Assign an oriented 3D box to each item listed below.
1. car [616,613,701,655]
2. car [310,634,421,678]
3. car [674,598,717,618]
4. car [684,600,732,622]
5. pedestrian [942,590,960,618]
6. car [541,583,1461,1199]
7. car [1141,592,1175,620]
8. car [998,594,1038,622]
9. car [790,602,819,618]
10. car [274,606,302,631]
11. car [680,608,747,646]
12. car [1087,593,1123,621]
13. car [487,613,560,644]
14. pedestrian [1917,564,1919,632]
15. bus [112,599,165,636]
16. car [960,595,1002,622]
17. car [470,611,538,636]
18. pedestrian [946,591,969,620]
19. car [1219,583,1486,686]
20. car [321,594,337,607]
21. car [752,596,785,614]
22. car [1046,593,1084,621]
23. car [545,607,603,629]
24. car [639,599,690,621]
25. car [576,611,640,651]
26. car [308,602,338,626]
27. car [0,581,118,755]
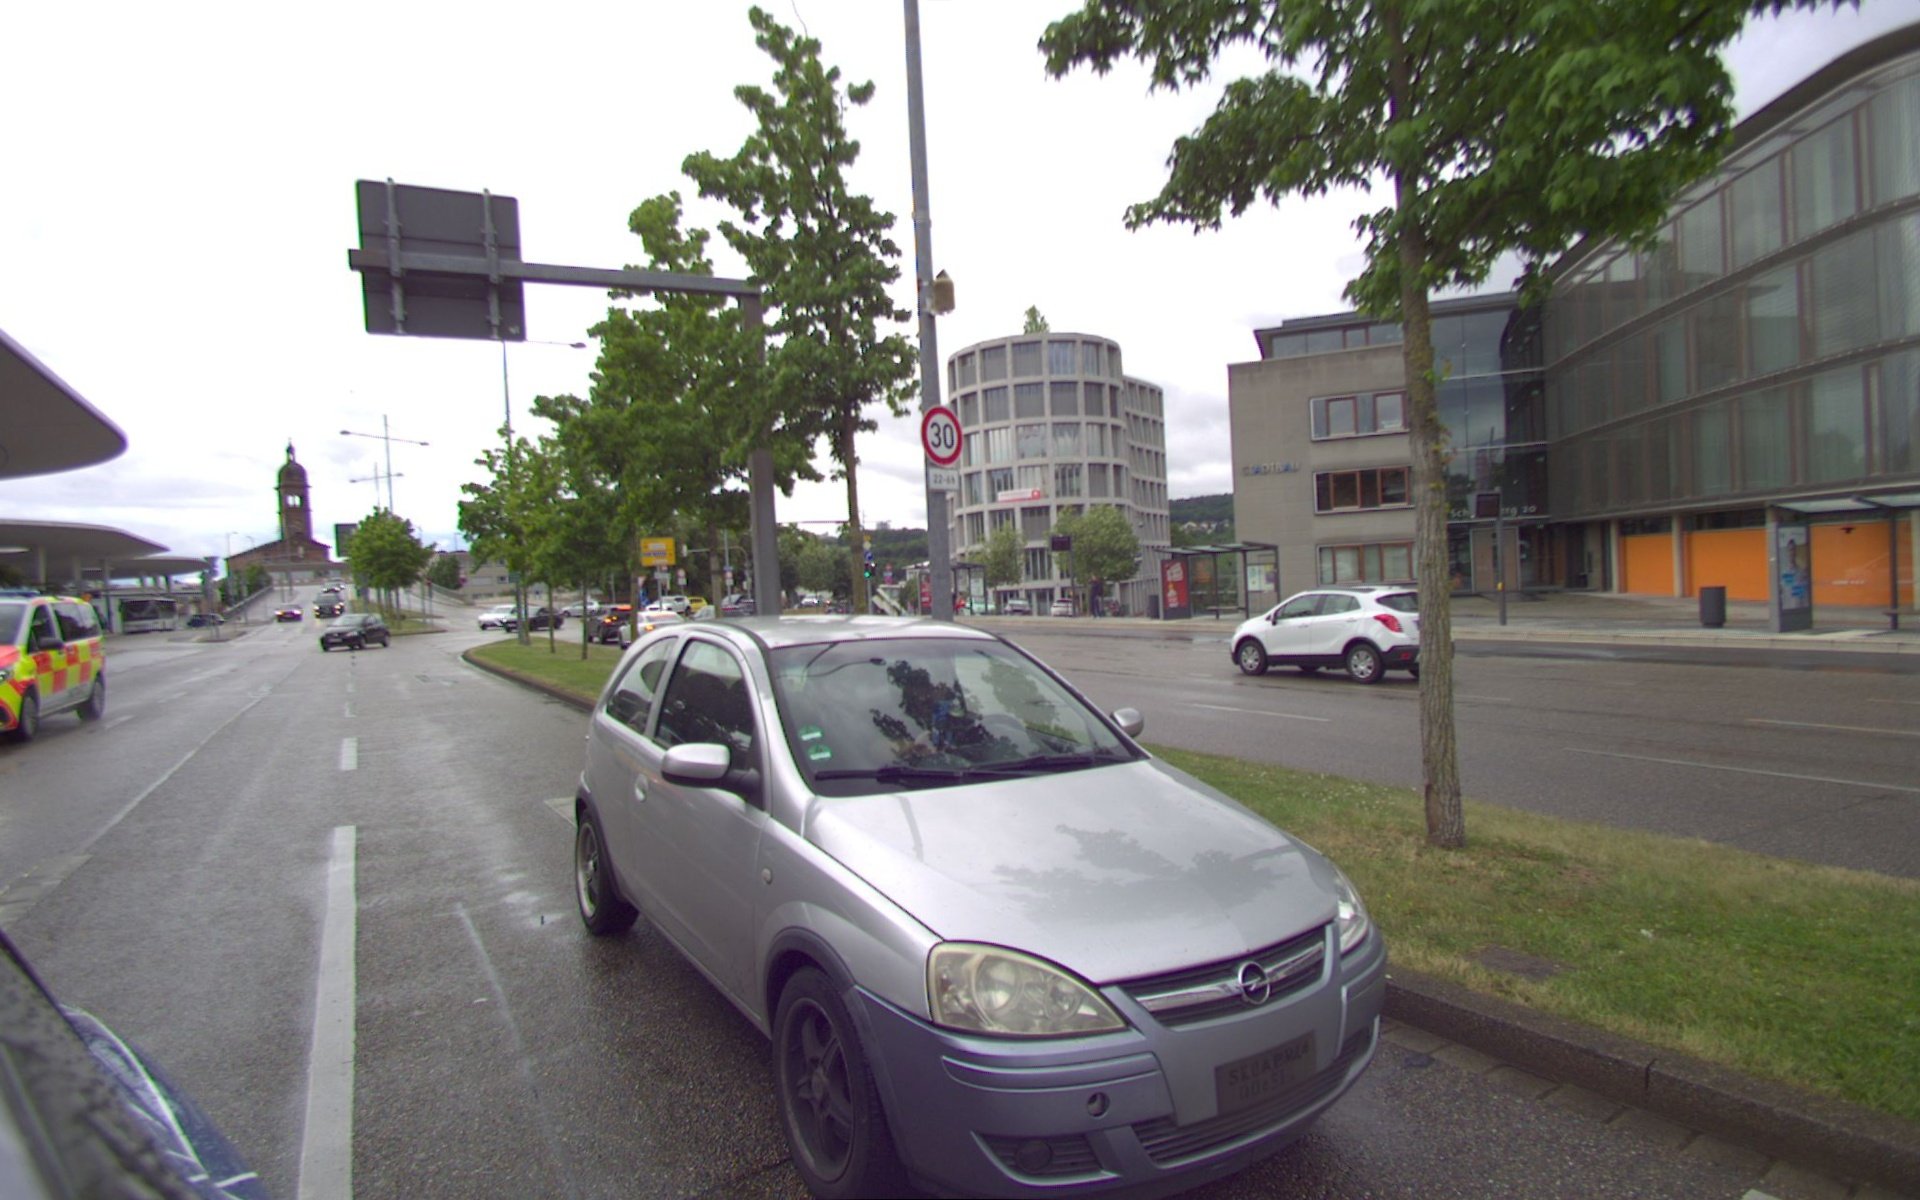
[{"bbox_3d":[-10.957,1.189,36.624,1.977,1.363,4.177,-1,0,-31],"label":"car"},{"bbox_3d":[-25.925,2.402,44.315,1.859,1.715,4.139,-1,0,14],"label":"car"},{"bbox_3d":[-23.037,0.706,88.407,1.859,1.646,4.139,-2,0,14],"label":"car"},{"bbox_3d":[-19.868,0.873,79.890,1.860,1.646,4.137,-1,0,15],"label":"car"},{"bbox_3d":[-0.506,0.219,54.121,0.721,1.501,0.737,-1,0,-23],"label":"pedestrian"},{"bbox_3d":[-0.364,0.721,3.850,1.671,1.477,3.731,-1,0,-32],"label":"car"},{"bbox_3d":[12.409,0.366,63.296,1.859,1.715,4.138,-1,0,14],"label":"car"},{"bbox_3d":[3.808,0.505,65.552,1.859,1.715,4.138,-1,0,14],"label":"car"},{"bbox_3d":[-16.331,1.042,106.715,1.856,1.646,4.146,-2,0,9],"label":"car"},{"bbox_3d":[-57.160,1.524,86.069,1.967,2.029,4.011,-1,0,-34],"label":"car"},{"bbox_3d":[-10.390,1.098,42.484,1.671,1.477,4.466,-1,0,-28],"label":"car"},{"bbox_3d":[9.248,0.417,64.462,1.859,1.715,4.138,-1,0,14],"label":"car"},{"bbox_3d":[-26.196,1.703,60.857,1.860,1.715,4.137,-1,0,15],"label":"car"},{"bbox_3d":[18.893,-0.040,19.314,0.657,1.309,0.722,-1,0,-26],"label":"pedestrian"},{"bbox_3d":[-75.342,1.635,92.835,3.528,3.121,10.773,-2,0,-39],"label":"bus"},{"bbox_3d":[1.422,0.544,66.275,1.859,1.715,4.138,-1,0,14],"label":"car"},{"bbox_3d":[-29.972,1.532,66.631,1.800,1.571,4.020,-1,0,22],"label":"car"},{"bbox_3d":[-0.144,0.295,53.180,0.967,1.501,0.736,-1,0,-21],"label":"pedestrian"},{"bbox_3d":[6.937,0.556,18.351,1.928,1.630,4.221,-1,0,-29],"label":"car"},{"bbox_3d":[-81.208,0.057,130.201,1.525,1.572,3.658,-1,0,-36],"label":"car"},{"bbox_3d":[-18.020,0.425,95.432,1.856,1.646,4.146,-1,0,9],"label":"car"},{"bbox_3d":[6.744,0.443,64.802,1.859,1.714,4.138,-2,0,14],"label":"car"},{"bbox_3d":[-32.021,1.510,83.940,4.104,1.646,1.874,-2,0,4],"label":"car"},{"bbox_3d":[-22.925,0.745,78.761,1.860,1.646,4.279,-1,0,16],"label":"car"},{"bbox_3d":[-15.174,1.296,43.501,1.977,1.566,4.178,-1,0,-28],"label":"car"},{"bbox_3d":[-56.414,1.231,89.665,1.967,2.029,4.009,-1,0,-36],"label":"car"},{"bbox_3d":[-13.239,0.825,13.571,1.965,2.029,5.078,-1,0,-28],"label":"car"}]
